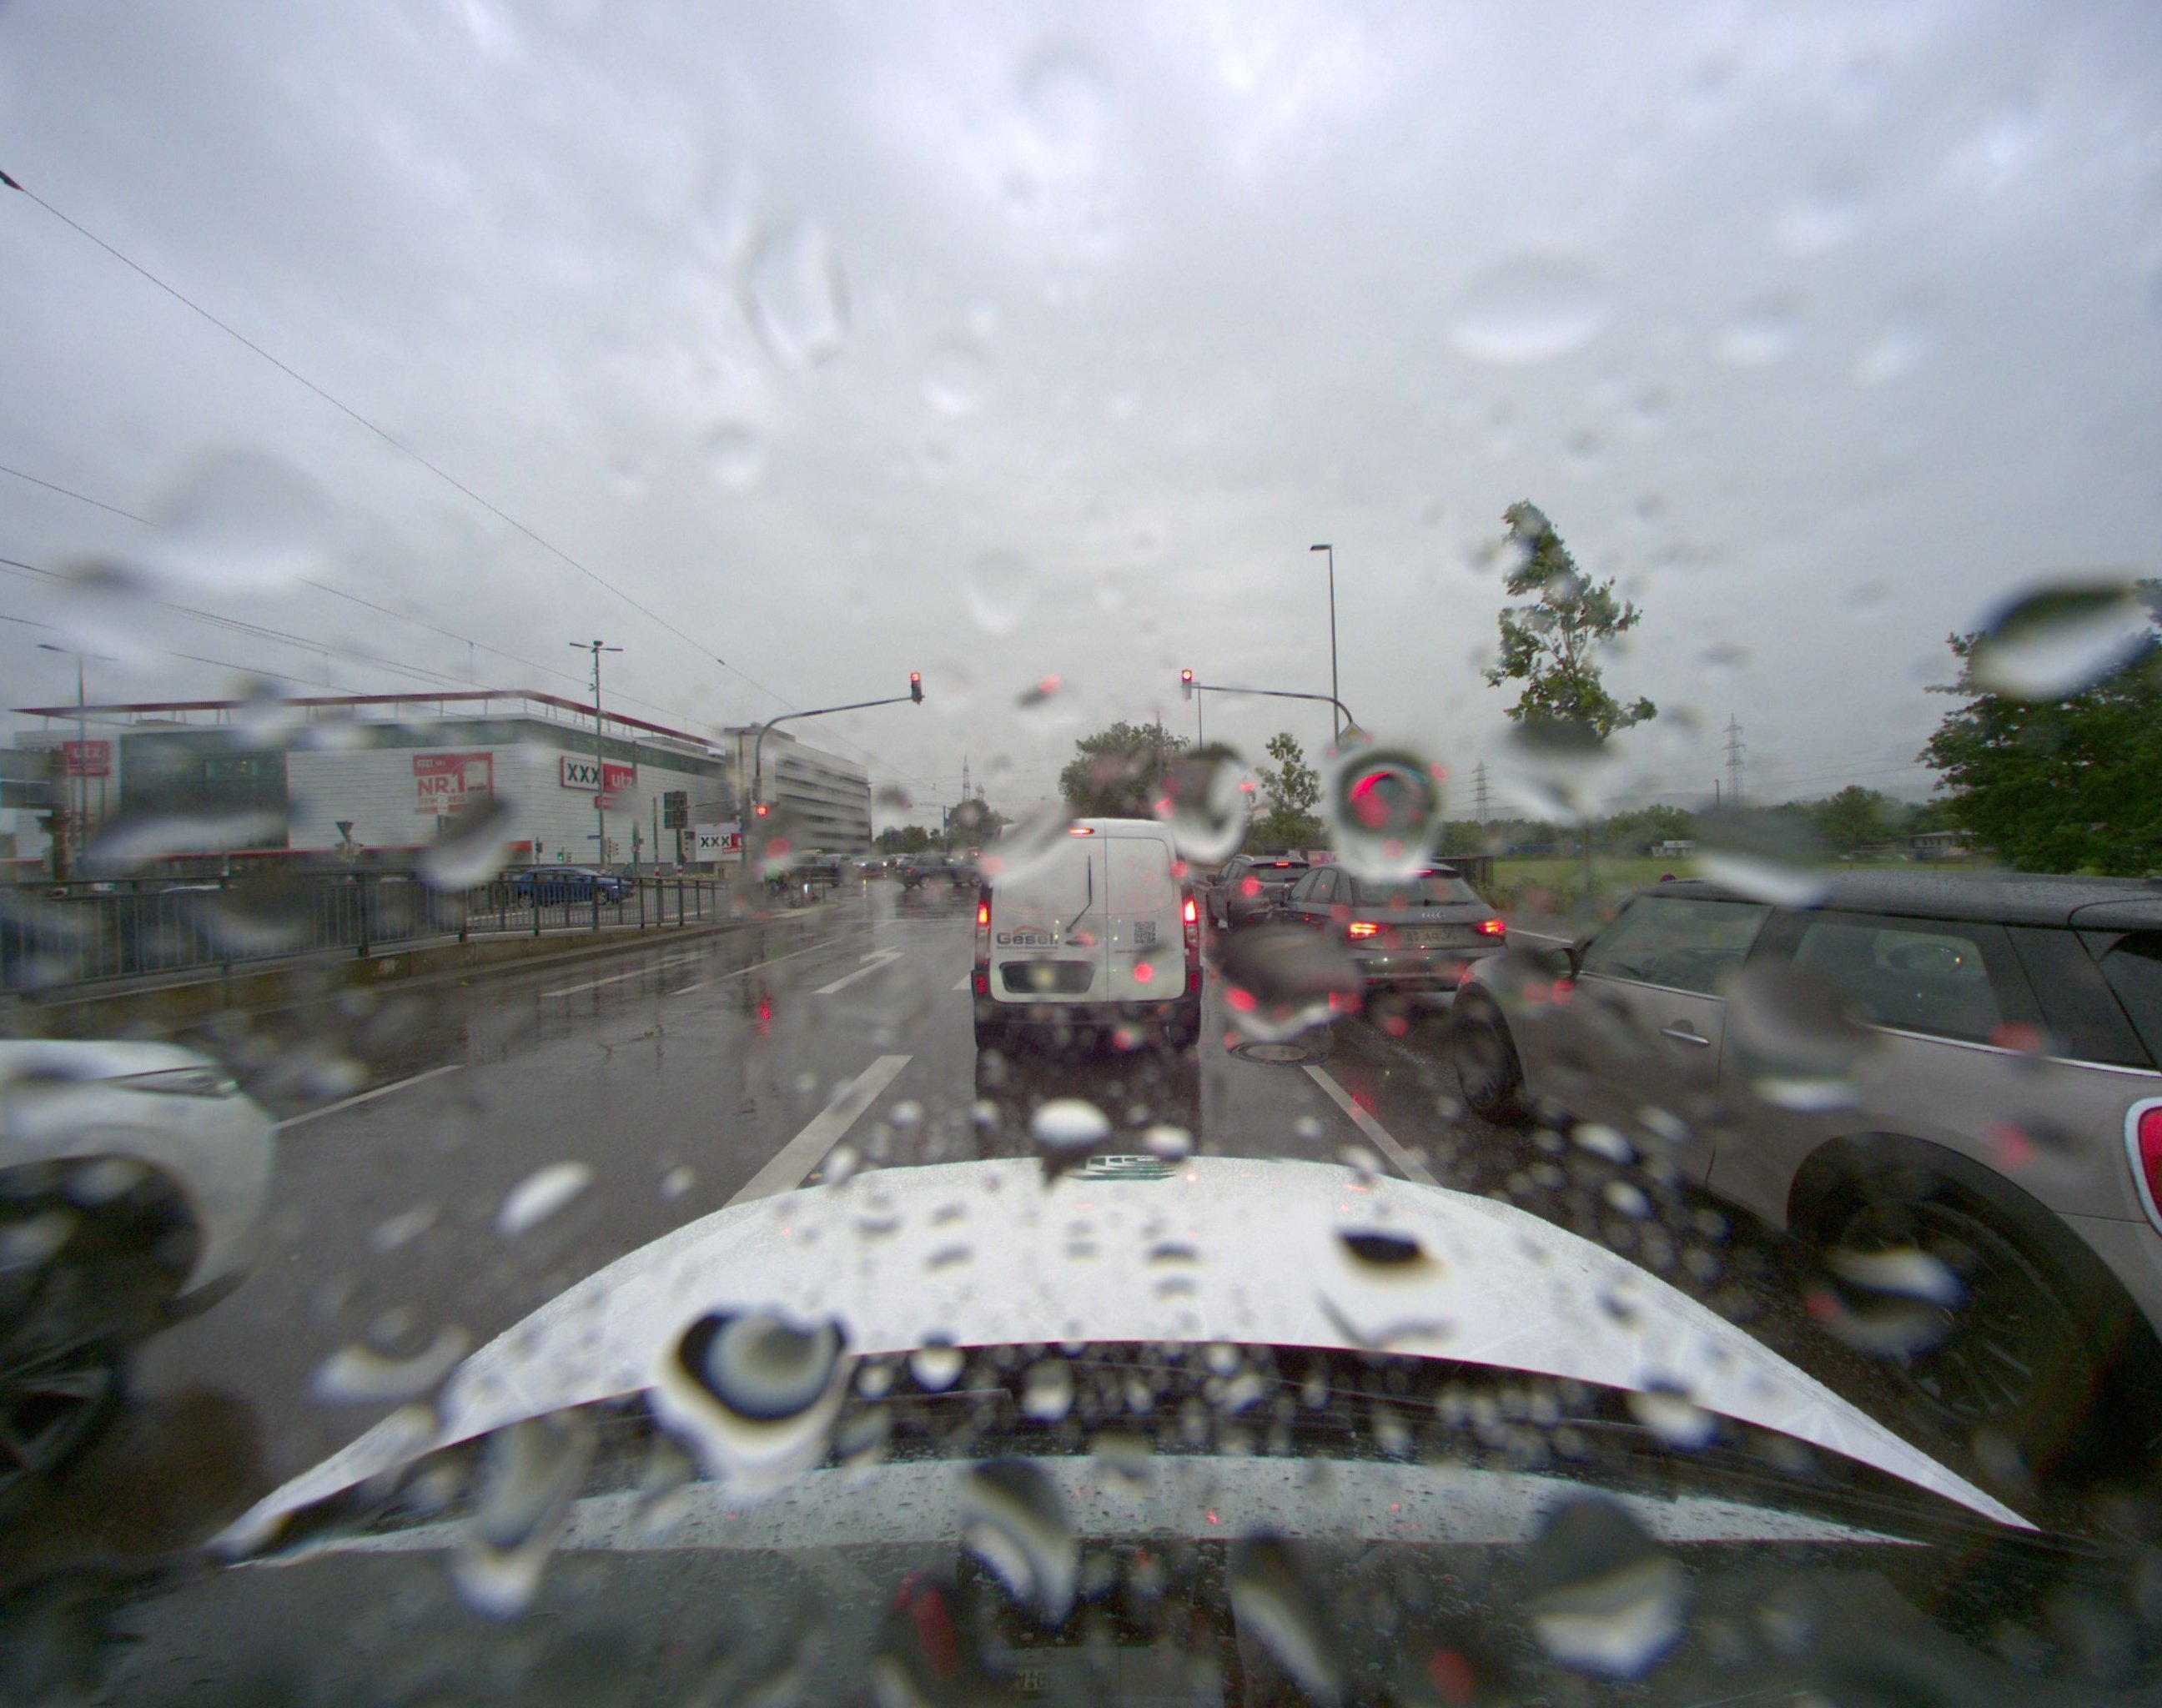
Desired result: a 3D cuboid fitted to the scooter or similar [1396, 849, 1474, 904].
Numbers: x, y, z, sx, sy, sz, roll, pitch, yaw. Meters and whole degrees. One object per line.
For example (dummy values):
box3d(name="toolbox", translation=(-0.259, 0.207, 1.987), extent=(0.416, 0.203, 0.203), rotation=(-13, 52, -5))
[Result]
box3d(name="scooter or similar", translation=(8.523, 0.498, 19.771), extent=(0.687, 1.211, 3.022), rotation=(-2, 0, 3))

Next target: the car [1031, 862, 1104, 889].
box3d(name="car", translation=(-0.736, 1.202, 45.421), extent=(3.943, 1.398, 1.518), rotation=(2, 0, -39))

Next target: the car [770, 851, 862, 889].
box3d(name="car", translation=(-12.713, 0.769, 39.101), extent=(3.815, 1.674, 1.687), rotation=(2, 0, -39))

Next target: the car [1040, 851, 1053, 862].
box3d(name="car", translation=(-5.561, 0.439, 130.673), extent=(1.942, 1.662, 4.461), rotation=(1, -1, -1))

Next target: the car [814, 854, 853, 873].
box3d(name="car", translation=(-19.330, 0.769, 63.727), extent=(1.704, 1.426, 3.810), rotation=(1, -1, 2))

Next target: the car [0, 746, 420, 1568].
box3d(name="car", translation=(-3.336, 0.650, 0.506), extent=(1.923, 1.775, 4.665), rotation=(0, 0, 2))

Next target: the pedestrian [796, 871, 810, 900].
box3d(name="pedestrian", translation=(-8.826, 0.988, 25.881), extent=(0.314, 0.897, 0.380), rotation=(1, 0, -1))

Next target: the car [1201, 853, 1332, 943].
box3d(name="car", translation=(3.399, 0.745, 15.601), extent=(1.678, 1.508, 3.921), rotation=(0, 0, 1))

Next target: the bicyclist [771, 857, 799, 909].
box3d(name="bicyclist", translation=(-8.670, 0.825, 23.830), extent=(0.608, 1.491, 0.593), rotation=(0, -1, -39))

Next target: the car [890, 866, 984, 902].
box3d(name="car", translation=(-6.322, 1.276, 35.937), extent=(3.816, 1.398, 1.518), rotation=(0, 1, -40))

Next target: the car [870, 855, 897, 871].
box3d(name="car", translation=(-18.870, 0.867, 78.042), extent=(1.554, 1.426, 3.570), rotation=(1, -1, 2))

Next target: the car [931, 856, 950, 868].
box3d(name="car", translation=(-17.569, 1.025, 101.872), extent=(1.554, 1.426, 3.570), rotation=(1, -1, 2))

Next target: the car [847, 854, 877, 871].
box3d(name="car", translation=(-19.044, 0.776, 70.961), extent=(1.554, 1.426, 3.570), rotation=(1, -1, 2))

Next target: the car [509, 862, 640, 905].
box3d(name="car", translation=(-18.634, 1.094, 30.107), extent=(3.734, 1.507, 1.644), rotation=(1, -1, -13))

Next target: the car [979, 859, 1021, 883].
box3d(name="car", translation=(-5.025, 1.016, 50.998), extent=(1.635, 1.398, 3.464), rotation=(2, 0, 10))

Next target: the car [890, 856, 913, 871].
box3d(name="car", translation=(-18.602, 1.006, 84.526), extent=(1.554, 1.426, 3.570), rotation=(1, -1, 2))

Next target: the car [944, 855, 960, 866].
box3d(name="car", translation=(-17.926, 0.895, 113.556), extent=(1.554, 1.426, 3.570), rotation=(1, -1, 2))

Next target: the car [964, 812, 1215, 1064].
box3d(name="car", translation=(0.013, 0.563, 7.820), extent=(1.749, 1.750, 4.166), rotation=(-1, 1, -2))

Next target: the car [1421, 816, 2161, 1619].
box3d(name="car", translation=(2.948, 0.705, 3.188), extent=(1.696, 1.508, 3.881), rotation=(1, 0, 2))

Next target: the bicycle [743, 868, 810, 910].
box3d(name="bicycle", translation=(-8.834, 1.001, 23.690), extent=(1.768, 1.137, 0.514), rotation=(0, -1, -41))

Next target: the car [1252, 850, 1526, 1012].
box3d(name="car", translation=(3.091, 0.712, 8.980), extent=(1.592, 1.366, 3.629), rotation=(-2, -1, 0))

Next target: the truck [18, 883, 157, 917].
box3d(name="truck", translation=(-60.365, 2.795, 49.544), extent=(5.859, 1.942, 2.012), rotation=(1, -1, 0))
